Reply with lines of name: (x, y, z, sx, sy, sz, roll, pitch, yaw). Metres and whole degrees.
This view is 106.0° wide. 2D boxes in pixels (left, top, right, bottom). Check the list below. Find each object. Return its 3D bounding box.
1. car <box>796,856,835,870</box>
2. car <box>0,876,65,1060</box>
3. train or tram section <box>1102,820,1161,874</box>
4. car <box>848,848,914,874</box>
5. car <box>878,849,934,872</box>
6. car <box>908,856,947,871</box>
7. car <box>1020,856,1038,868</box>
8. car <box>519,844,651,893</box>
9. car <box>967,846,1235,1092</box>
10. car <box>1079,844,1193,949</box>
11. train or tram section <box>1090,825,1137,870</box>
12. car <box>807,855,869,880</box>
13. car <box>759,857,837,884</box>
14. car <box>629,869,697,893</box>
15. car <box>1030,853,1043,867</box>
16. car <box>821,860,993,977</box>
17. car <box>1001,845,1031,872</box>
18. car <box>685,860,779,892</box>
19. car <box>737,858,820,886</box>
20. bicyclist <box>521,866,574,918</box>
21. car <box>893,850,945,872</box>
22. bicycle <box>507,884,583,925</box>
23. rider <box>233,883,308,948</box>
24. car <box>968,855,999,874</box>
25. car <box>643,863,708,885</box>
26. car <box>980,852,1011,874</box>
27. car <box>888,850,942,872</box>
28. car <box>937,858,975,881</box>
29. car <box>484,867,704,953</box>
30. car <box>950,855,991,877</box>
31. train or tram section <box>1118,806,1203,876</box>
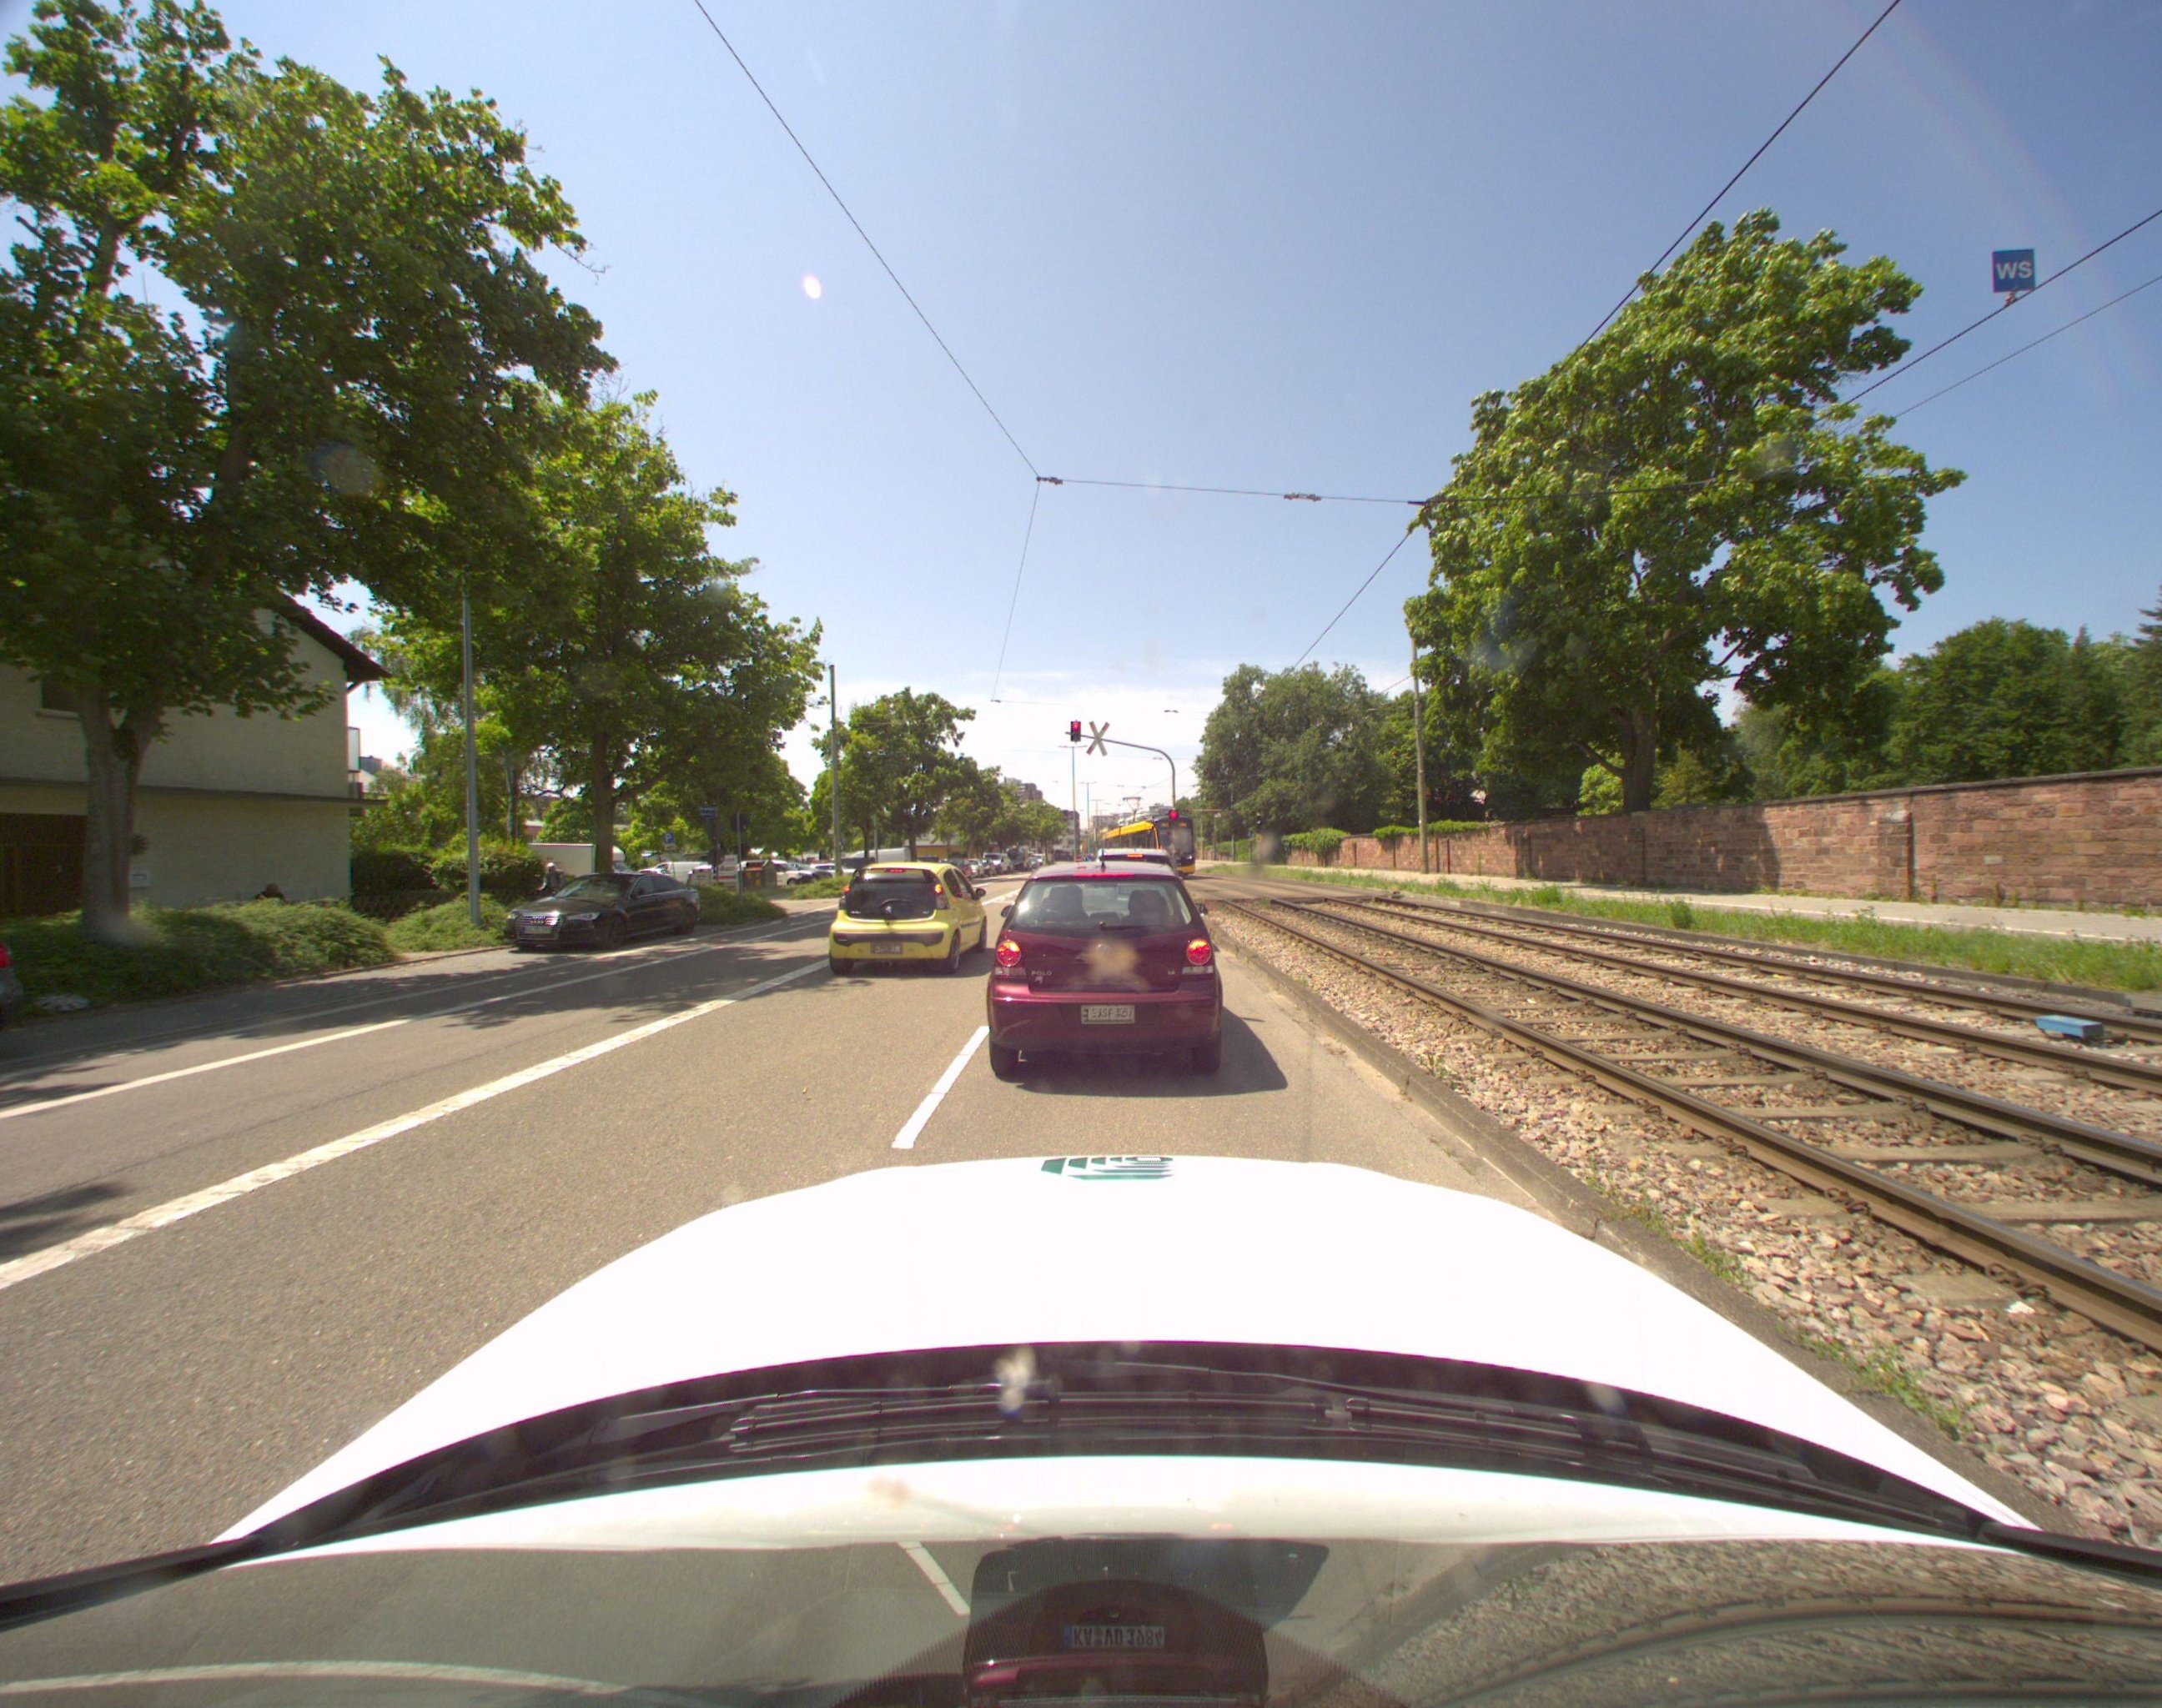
car: (-31.584, 1.024, 96.927, 4.006, 1.617, 1.816, 1, -1, 0)
car: (-10.240, 0.987, 5.347, 1.812, 1.564, 4.182, 0, 0, 1)
train or tram section: (3.534, -0.491, 60.264, 2.736, 3.609, 10.931, 1, 0, -5)
car: (-17.522, 0.601, 71.556, 5.076, 2.244, 2.380, 1, -1, 3)
car: (-17.740, 0.690, 82.873, 5.076, 2.244, 2.380, 1, -1, 3)
car: (-17.412, 1.054, 92.342, 4.004, 1.617, 1.818, 1, -1, 3)
car: (-6.417, 1.042, 101.654, 1.606, 1.441, 4.006, 0, -1, 5)
car: (-31.450, 0.911, 51.810, 6.828, 2.965, 2.364, 1, -1, 0)
car: (0.168, 0.710, 7.065, 1.666, 1.521, 4.001, 0, 0, 1)
car: (0.900, 0.658, 14.748, 1.770, 1.647, 4.001, 0, 0, 1)
train or tram section: (2.688, -0.530, 70.796, 2.736, 3.609, 10.931, 1, 0, -5)
car: (-18.188, 1.006, 61.098, 3.973, 1.746, 1.998, -2, 0, 0)
car: (-18.420, 1.084, 53.064, 4.319, 1.585, 1.917, -2, 0, 8)
car: (-30.428, 1.952, 59.334, 3.982, 1.653, 1.812, 1, -1, -7)
car: (-5.889, 0.807, 107.851, 1.771, 1.828, 3.995, 1, -1, -3)
car: (-2.355, 0.816, 11.882, 1.684, 1.411, 3.516, 0, 0, 1)
car: (-6.705, 0.450, 84.574, 2.352, 2.692, 5.311, 1, -1, 3)
car: (-19.359, 1.184, 45.271, 4.329, 1.585, 1.912, -2, 0, -1)
car: (-18.634, 1.095, 50.263, 4.319, 1.585, 1.917, -2, 0, 7)
bicyclist: (-14.414, 1.021, 22.024, 0.805, 1.374, 0.829, 0, -1, 5)
car: (-17.460, 0.753, 87.939, 5.076, 2.244, 2.380, 1, -1, 3)
bicycle: (-14.444, 1.339, 22.013, 0.697, 1.030, 1.831, 0, -1, 5)
rider: (-17.976, 1.350, 18.074, 0.820, 1.374, 0.814, -2, 0, 10)
car: (-7.889, 0.868, 66.089, 1.606, 1.441, 4.006, 0, -1, 5)
car: (-30.692, 1.521, 61.759, 3.982, 1.653, 1.812, 1, -1, -7)
car: (-7.457, 0.776, 71.537, 1.774, 1.881, 4.791, 0, -1, 5)
car: (-17.349, 0.723, 85.336, 5.076, 2.244, 2.380, 1, -1, 3)
car: (-8.337, 1.014, 54.756, 1.655, 1.497, 4.004, 1, -1, 4)
car: (-9.869, 1.057, 17.014, 1.812, 1.476, 4.450, 0, 0, 1)
car: (-8.229, 0.886, 61.308, 1.965, 1.601, 4.566, 0, -1, 6)
train or tram section: (4.443, -0.684, 48.794, 2.736, 3.609, 12.847, 1, 0, -5)
